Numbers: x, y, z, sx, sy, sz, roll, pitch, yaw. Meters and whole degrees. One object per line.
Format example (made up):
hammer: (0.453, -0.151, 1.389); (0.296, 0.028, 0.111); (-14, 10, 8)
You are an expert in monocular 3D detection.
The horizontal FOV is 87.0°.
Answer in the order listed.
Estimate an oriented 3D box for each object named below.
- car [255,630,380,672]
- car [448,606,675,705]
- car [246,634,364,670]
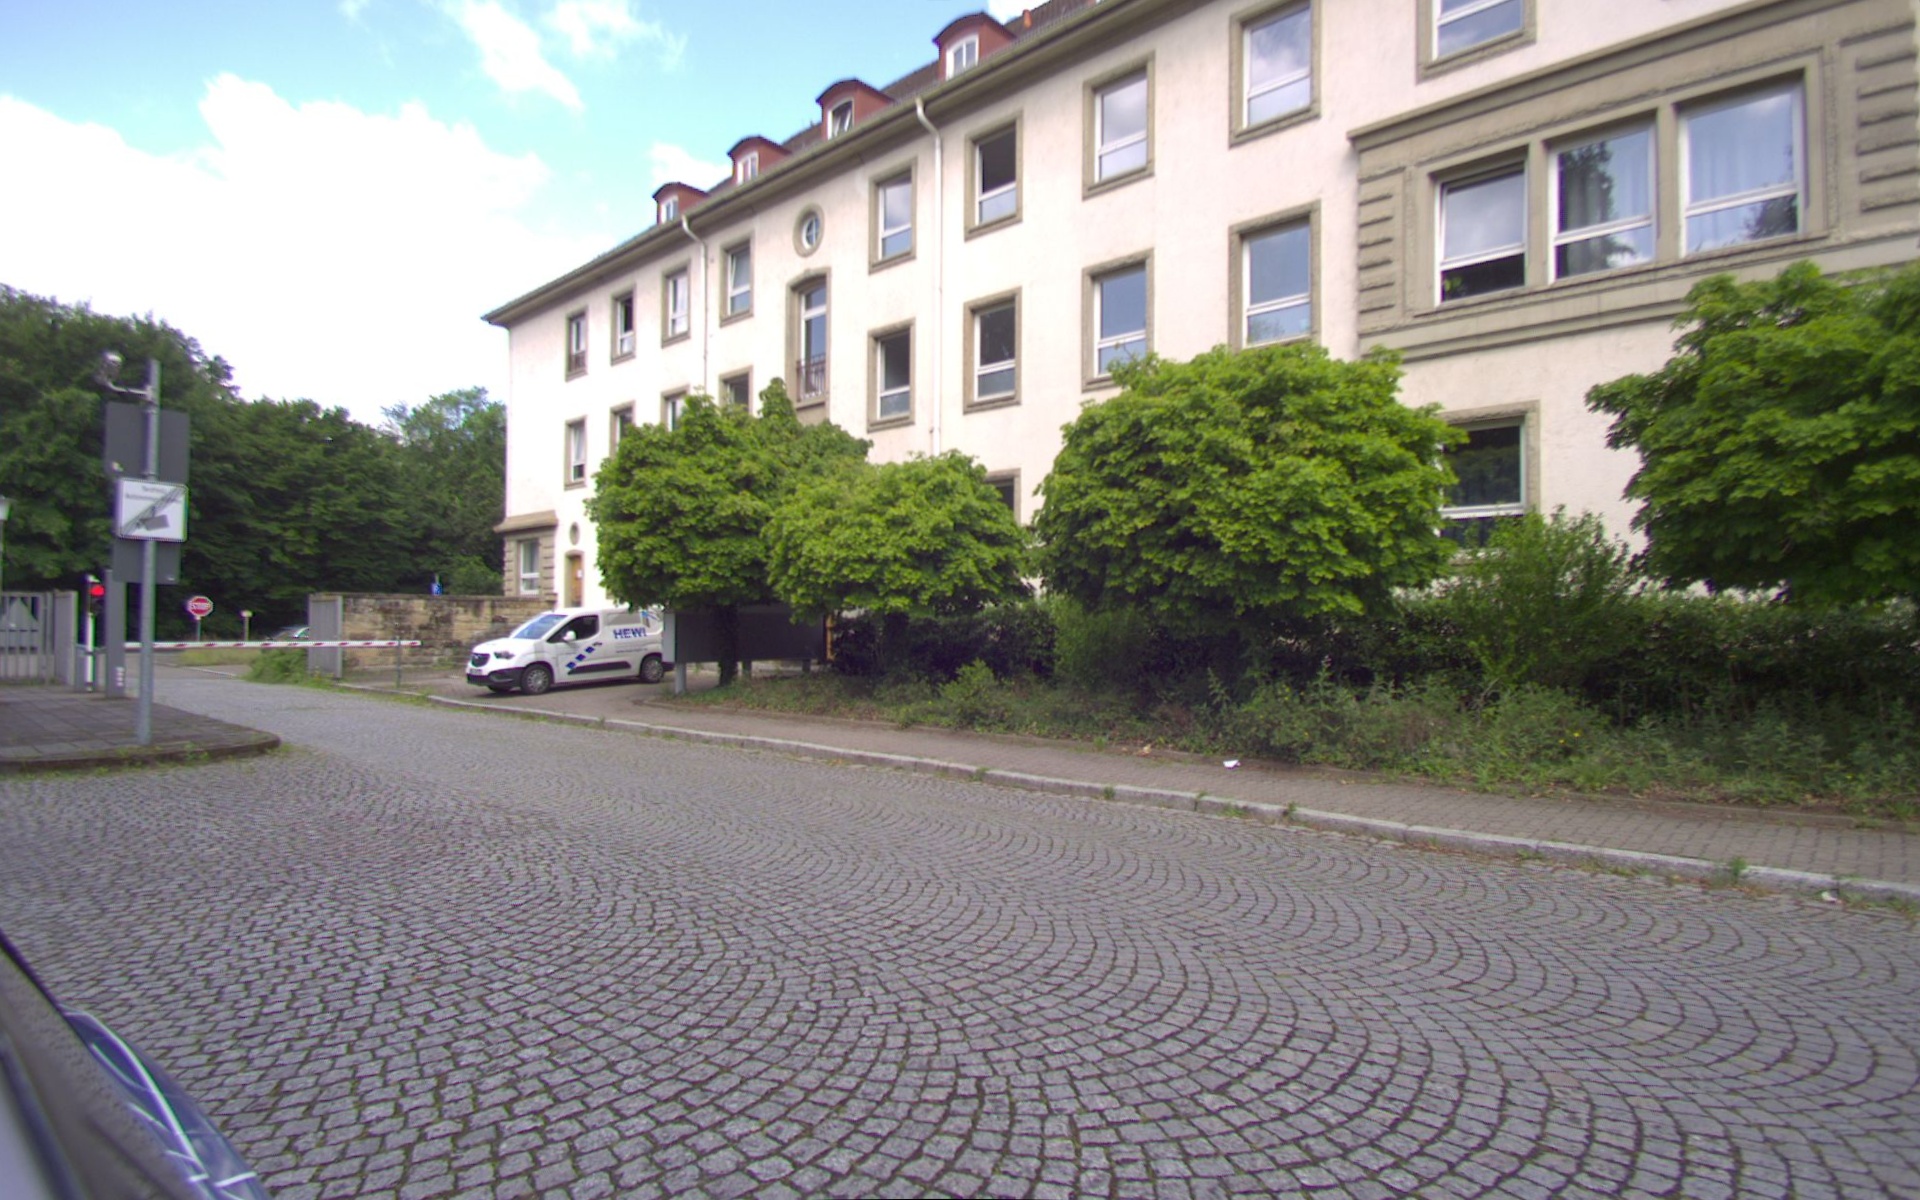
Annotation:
car: (-25.328, 1.984, 39.977); (3.938, 1.529, 1.804); (1, -2, -42)
car: (-8.634, 1.118, 22.221); (1.819, 1.819, 4.258); (-1, 1, 40)
car: (-27.410, 2.150, 42.423); (3.938, 1.356, 1.804); (1, -2, -42)
